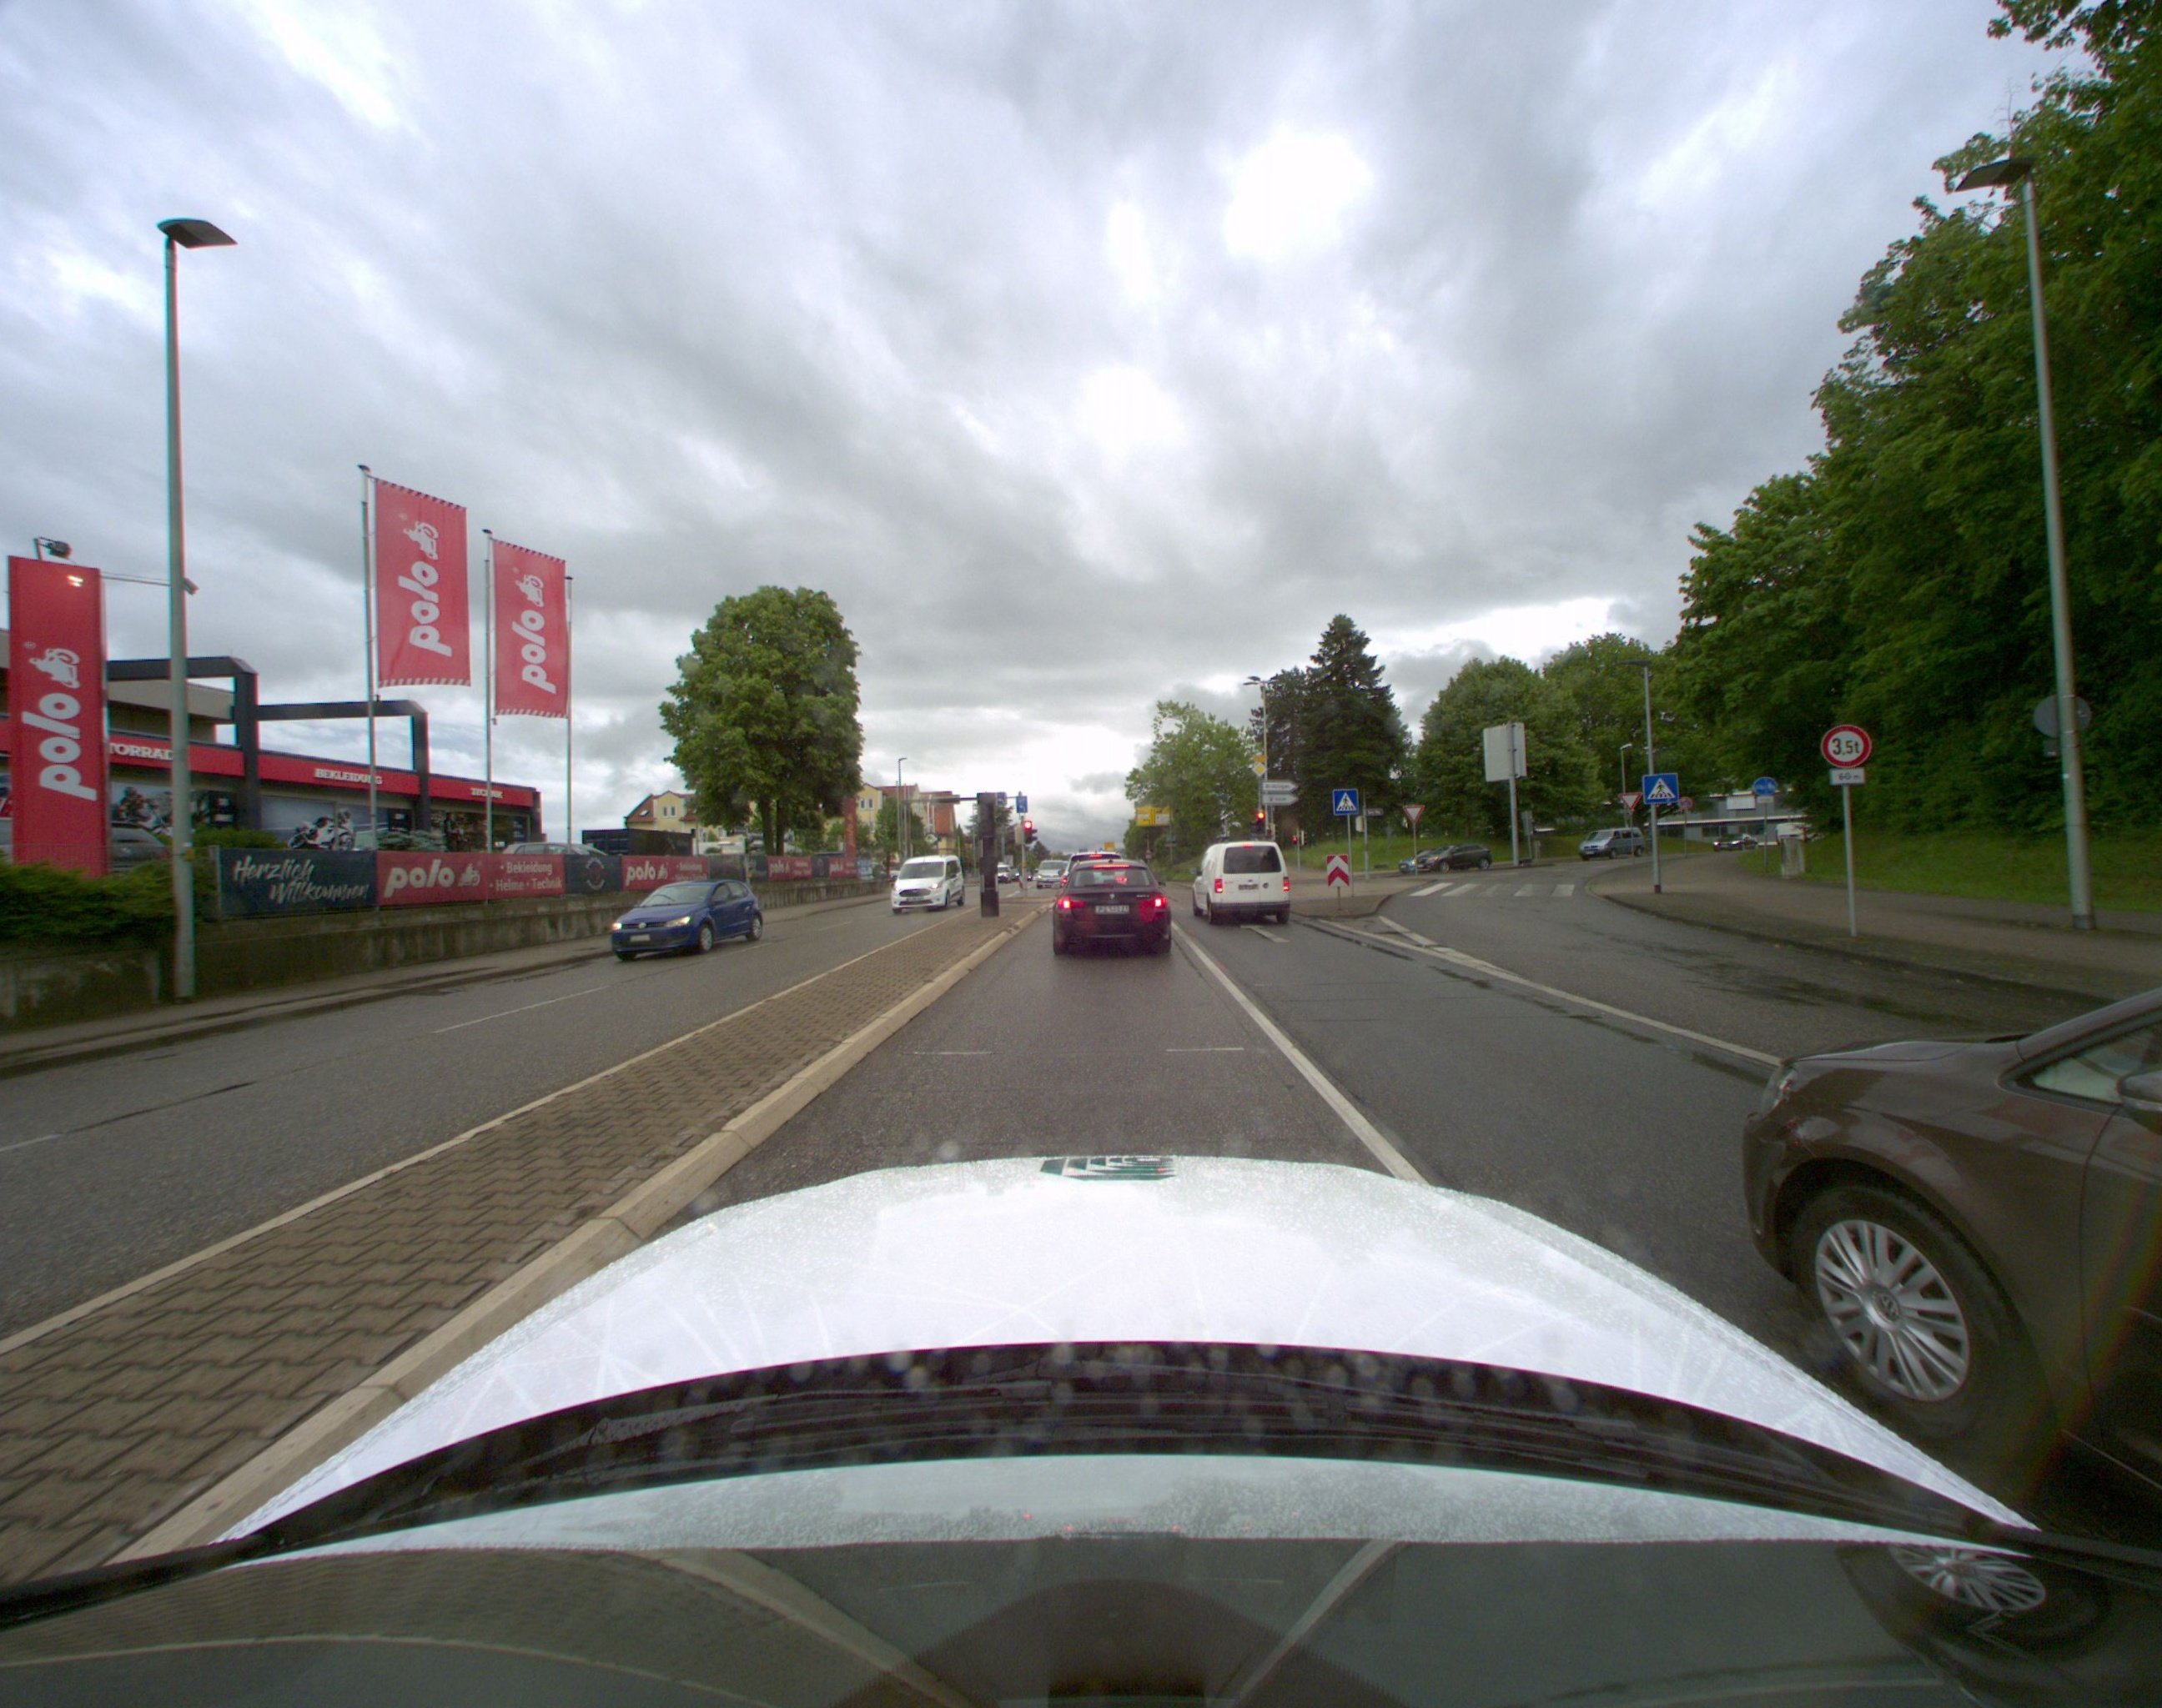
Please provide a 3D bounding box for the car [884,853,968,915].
[{"bbox_3d":[-5.198,0.953,27.851,1.851,1.823,4.579,-4,-1,0],"label":"car"}]

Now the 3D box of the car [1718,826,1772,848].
[{"bbox_3d":[48.914,-1.238,59.996,4.014,1.447,1.820,-2,-1,-32],"label":"car"}]

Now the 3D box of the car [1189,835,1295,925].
[{"bbox_3d":[3.642,0.565,19.047,1.735,1.869,3.946,-1,-1,1],"label":"car"}]

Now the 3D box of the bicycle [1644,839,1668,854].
[{"bbox_3d":[39.520,-0.525,55.956,1.753,0.953,0.574,-2,0,-27],"label":"bicycle"}]

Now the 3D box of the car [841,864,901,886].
[{"bbox_3d":[-16.183,1.578,62.830,4.215,1.456,1.785,-2,0,-26],"label":"car"}]

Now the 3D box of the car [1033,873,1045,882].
[{"bbox_3d":[-6.653,3.695,129.355,1.662,1.354,3.443,-2,0,1],"label":"car"}]

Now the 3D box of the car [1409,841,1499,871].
[{"bbox_3d":[21.050,0.120,46.029,4.321,1.467,1.892,-2,0,-13],"label":"car"}]

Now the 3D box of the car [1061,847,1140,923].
[{"bbox_3d":[0.557,0.717,20.446,1.720,1.711,3.387,-1,0,5],"label":"car"}]

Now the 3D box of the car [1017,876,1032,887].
[{"bbox_3d":[-7.815,3.776,112.299,1.662,1.354,3.443,-2,0,1],"label":"car"}]

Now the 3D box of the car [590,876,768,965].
[{"bbox_3d":[-8.001,1.263,16.629,1.629,1.381,3.765,-4,0,1],"label":"car"}]

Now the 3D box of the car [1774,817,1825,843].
[{"bbox_3d":[51.490,-1.745,58.335,3.962,1.708,1.801,-3,1,-34],"label":"car"}]

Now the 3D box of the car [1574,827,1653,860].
[{"bbox_3d":[33.000,-0.643,50.476,4.751,1.851,1.885,-2,1,-25],"label":"car"}]

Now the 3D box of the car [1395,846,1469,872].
[{"bbox_3d":[21.207,0.295,49.207,3.996,1.294,1.600,-4,1,-17],"label":"car"}]

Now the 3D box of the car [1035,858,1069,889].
[{"bbox_3d":[-1.671,1.104,48.098,1.728,1.691,4.001,-2,-1,1],"label":"car"}]

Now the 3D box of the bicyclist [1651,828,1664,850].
[{"bbox_3d":[39.673,-1.037,56.034,0.563,1.489,0.451,-2,0,-26],"label":"bicyclist"}]

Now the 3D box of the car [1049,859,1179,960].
[{"bbox_3d":[0.633,0.811,13.688,1.846,1.419,3.961,-1,0,4],"label":"car"}]

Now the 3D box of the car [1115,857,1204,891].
[{"bbox_3d":[3.737,0.927,38.752,4.063,1.456,1.904,-2,0,6],"label":"car"}]

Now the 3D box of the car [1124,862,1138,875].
[{"bbox_3d":[5.753,1.669,93.977,1.593,1.371,3.684,-3,1,3],"label":"car"}]

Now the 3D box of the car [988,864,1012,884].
[{"bbox_3d":[-7.554,1.867,76.233,1.662,1.670,3.683,-2,0,1],"label":"car"}]

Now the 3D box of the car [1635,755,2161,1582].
[{"bbox_3d":[2.917,0.600,1.000,1.708,1.596,4.131,-1,1,1],"label":"car"}]

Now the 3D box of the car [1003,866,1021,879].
[{"bbox_3d":[-7.940,2.168,93.874,1.662,1.354,3.443,-2,0,1],"label":"car"}]

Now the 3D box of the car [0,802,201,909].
[{"bbox_3d":[-16.312,0.068,12.706,3.403,1.509,1.583,-2,0,1],"label":"car"}]
